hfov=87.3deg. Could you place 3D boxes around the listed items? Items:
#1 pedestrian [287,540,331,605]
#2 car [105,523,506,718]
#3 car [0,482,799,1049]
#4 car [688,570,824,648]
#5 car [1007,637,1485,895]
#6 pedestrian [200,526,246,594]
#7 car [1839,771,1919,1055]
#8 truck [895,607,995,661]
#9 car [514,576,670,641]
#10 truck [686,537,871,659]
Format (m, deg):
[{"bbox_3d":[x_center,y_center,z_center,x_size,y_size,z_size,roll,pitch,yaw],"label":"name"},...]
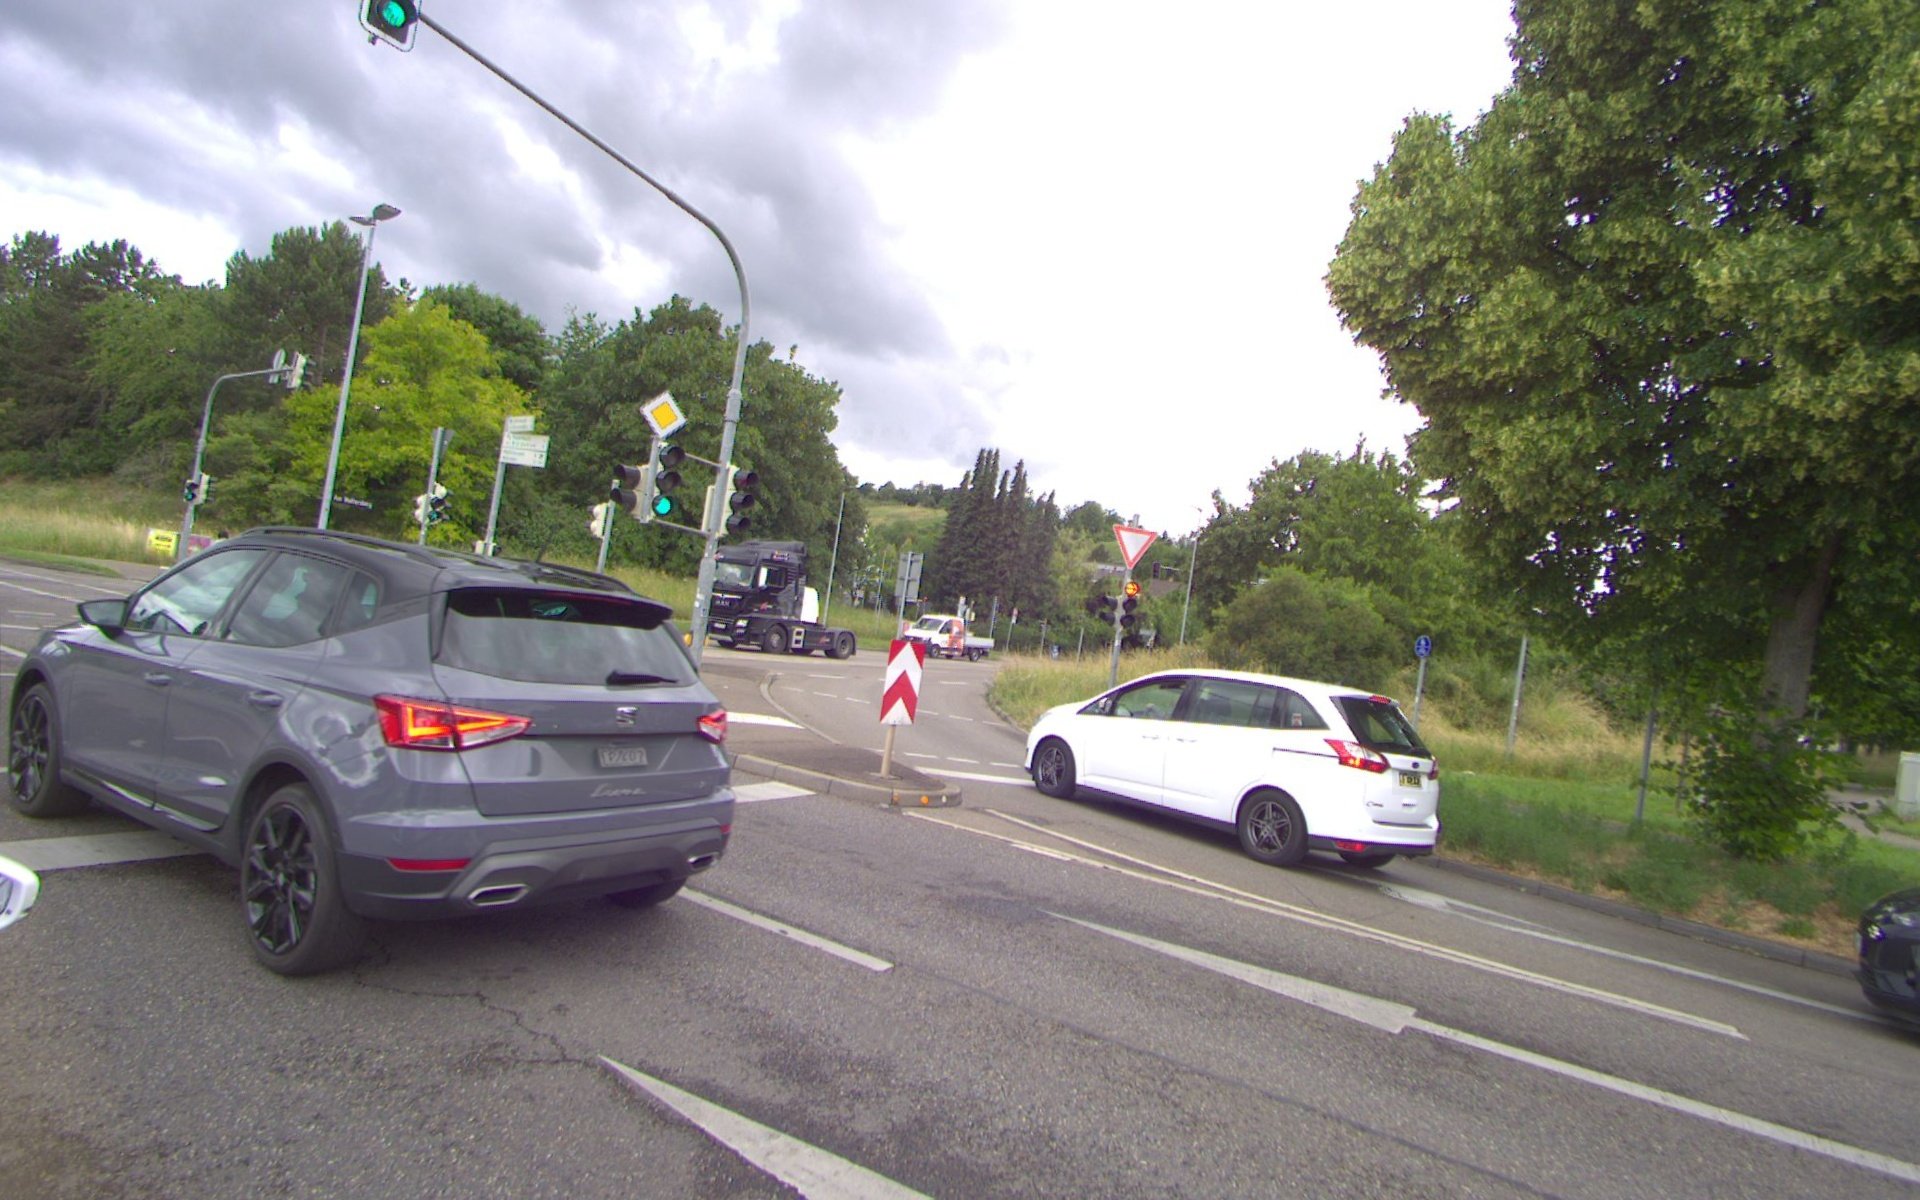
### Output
[{"bbox_3d":[-17.643,-0.744,27.262,0.703,1.630,0.644,6,-1,37],"label":"pedestrian"},{"bbox_3d":[-6.857,0.180,10.431,4.219,1.398,1.750,7,-2,32],"label":"car"},{"bbox_3d":[-2.808,0.460,4.711,3.774,1.511,1.627,8,-1,32],"label":"car"},{"bbox_3d":[-8.674,0.452,43.456,1.968,2.660,5.814,6,-2,34],"label":"car"},{"bbox_3d":[2.630,1.507,10.223,1.752,1.673,4.325,10,-3,-37],"label":"car"},{"bbox_3d":[-19.478,-1.045,26.588,0.703,1.681,0.644,6,-1,38],"label":"pedestrian"},{"bbox_3d":[7.156,2.007,5.354,3.511,1.524,1.603,6,-2,38],"label":"car"},{"bbox_3d":[-0.737,1.908,55.189,2.129,2.255,6.027,6,-2,36],"label":"truck"},{"bbox_3d":[-10.510,0.287,29.000,1.669,1.353,3.882,6,-3,34],"label":"car"},{"bbox_3d":[-6.217,0.037,35.359,2.648,3.527,6.004,6,-1,34],"label":"truck"}]
